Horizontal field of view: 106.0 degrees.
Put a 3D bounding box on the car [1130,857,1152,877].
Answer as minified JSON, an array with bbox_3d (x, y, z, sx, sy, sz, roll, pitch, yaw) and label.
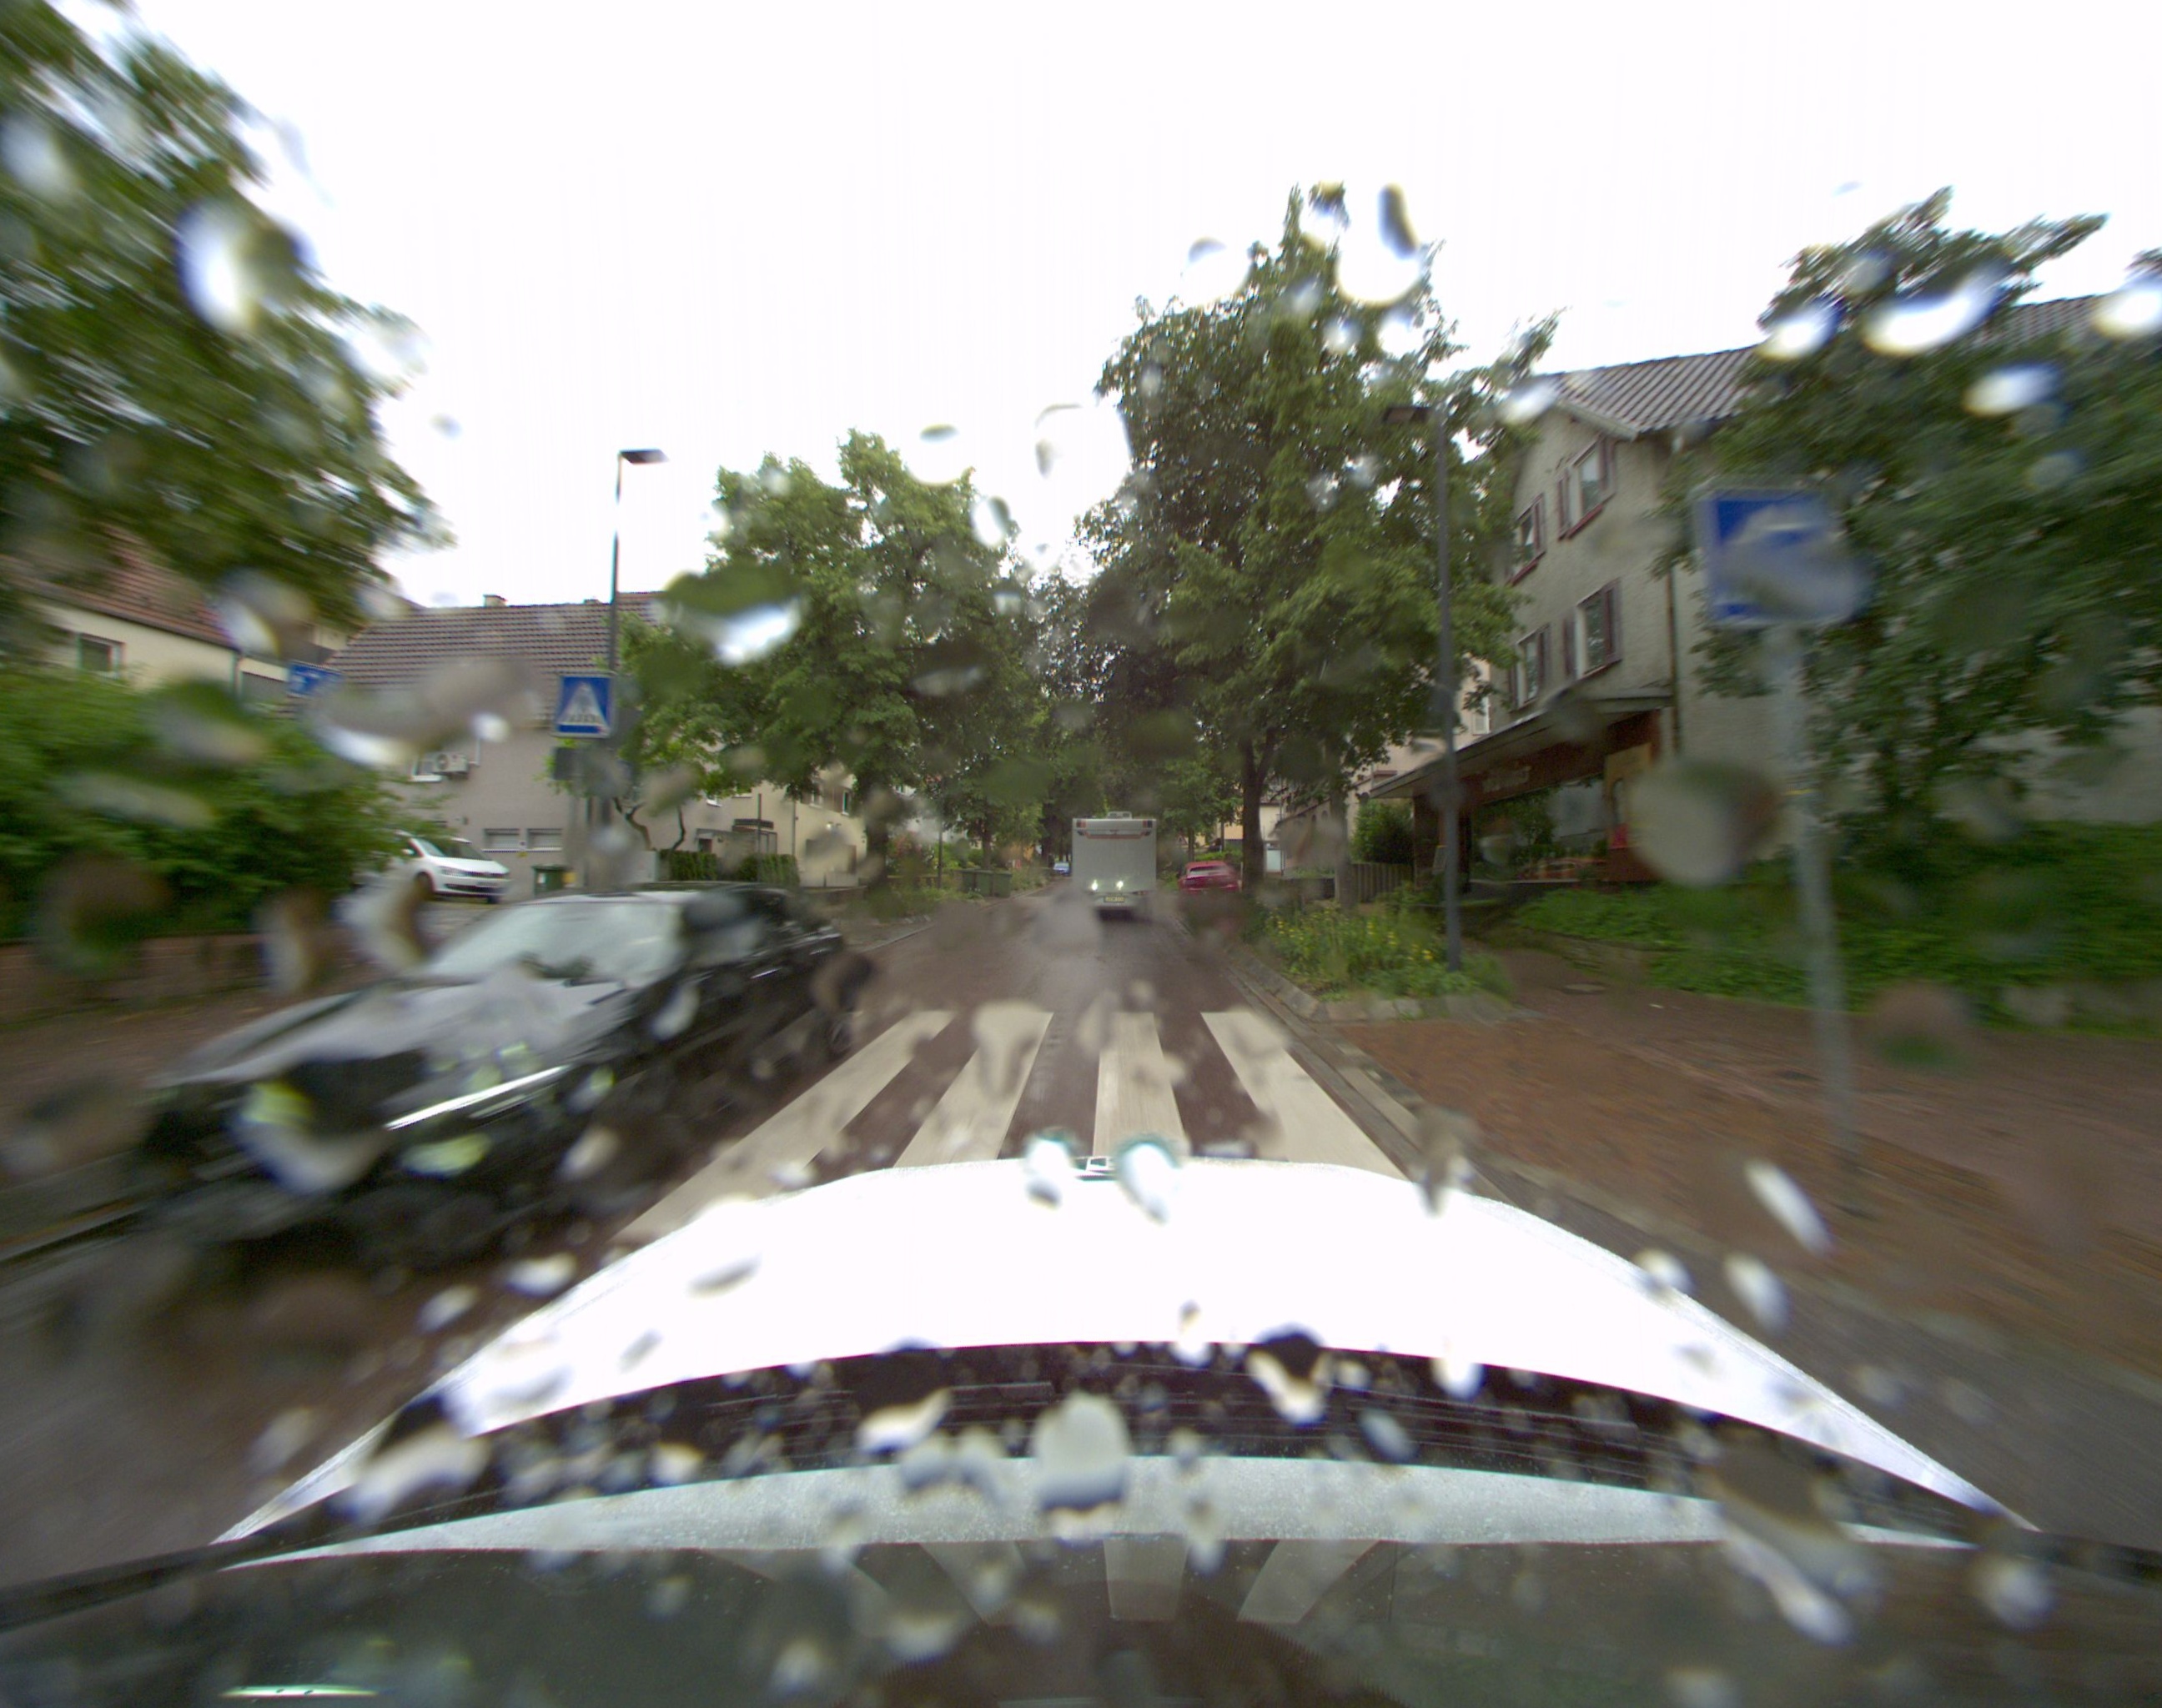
[{"bbox_3d":[4.879,1.093,66.363,1.642,1.542,3.532,-1,-1,3],"label":"car"}]

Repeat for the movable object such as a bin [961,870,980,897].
[{"bbox_3d":[-4.636,1.248,34.203,0.667,1.105,0.817,0,-1,2],"label":"movable object such as a bin"}]

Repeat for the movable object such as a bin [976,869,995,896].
[{"bbox_3d":[-3.934,1.176,33.607,0.667,1.105,0.817,0,-1,2],"label":"movable object such as a bin"}]

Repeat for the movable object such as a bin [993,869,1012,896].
[{"bbox_3d":[-3.216,1.168,33.564,0.667,1.095,0.817,0,-1,2],"label":"movable object such as a bin"}]

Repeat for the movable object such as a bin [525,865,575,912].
[{"bbox_3d":[-12.018,0.773,18.447,0.568,1.035,0.742,-1,-1,14],"label":"movable object such as a bin"}]

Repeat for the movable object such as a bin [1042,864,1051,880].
[{"bbox_3d":[-2.284,1.226,54.202,0.526,1.058,0.562,-1,-2,2],"label":"movable object such as a bin"}]

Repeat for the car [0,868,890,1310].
[{"bbox_3d":[-2.753,0.848,5.043,1.847,1.385,4.412,1,0,3],"label":"car"}]

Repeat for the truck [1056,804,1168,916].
[{"bbox_3d":[0.891,0.215,23.909,2.795,2.797,6.108,-1,-1,2],"label":"truck"}]

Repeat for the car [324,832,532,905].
[{"bbox_3d":[-16.524,0.350,20.645,4.394,1.688,2.009,0,-2,19],"label":"car"}]

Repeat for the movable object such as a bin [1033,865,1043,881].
[{"bbox_3d":[-2.860,1.259,54.194,0.526,1.058,0.562,-1,-2,2],"label":"movable object such as a bin"}]

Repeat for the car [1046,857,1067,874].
[{"bbox_3d":[-2.392,1.161,78.925,1.795,1.552,3.991,-1,-1,-6],"label":"car"}]

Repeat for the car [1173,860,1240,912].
[{"bbox_3d":[4.011,0.969,26.624,1.846,1.472,4.371,1,0,5],"label":"car"}]

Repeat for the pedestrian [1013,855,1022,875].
[{"bbox_3d":[-6.031,1.077,77.319,0.814,1.844,0.770,-1,-2,1],"label":"pedestrian"}]
